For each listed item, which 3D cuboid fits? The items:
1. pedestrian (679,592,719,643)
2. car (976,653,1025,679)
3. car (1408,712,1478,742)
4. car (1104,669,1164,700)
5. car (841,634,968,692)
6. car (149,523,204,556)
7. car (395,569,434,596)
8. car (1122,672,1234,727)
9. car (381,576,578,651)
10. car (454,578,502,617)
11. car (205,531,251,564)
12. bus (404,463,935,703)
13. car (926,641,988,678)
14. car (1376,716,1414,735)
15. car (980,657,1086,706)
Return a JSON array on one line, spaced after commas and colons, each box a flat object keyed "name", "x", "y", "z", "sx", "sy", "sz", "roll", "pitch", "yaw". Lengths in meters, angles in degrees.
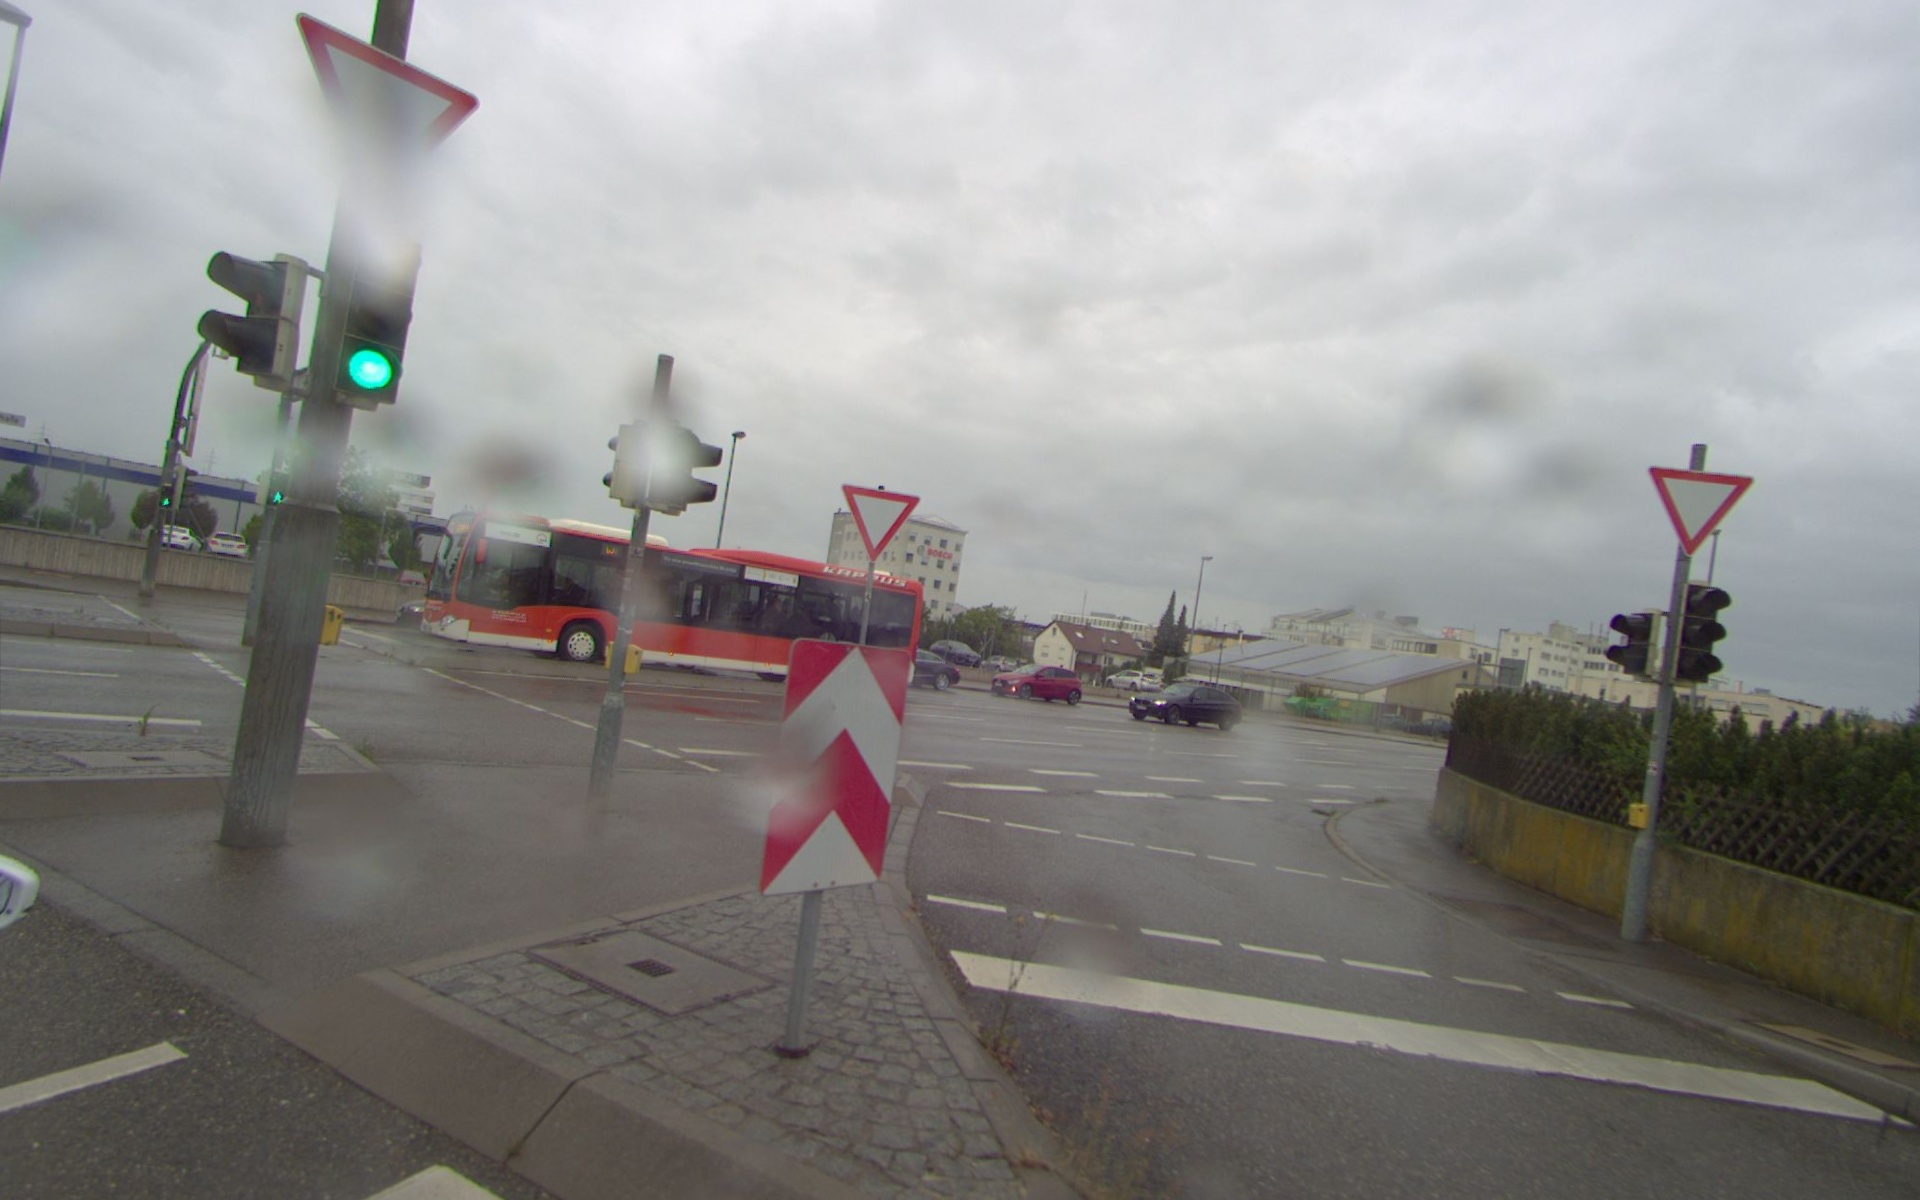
[{"name": "pedestrian", "x": -9.382, "y": 0.623, "z": 36.167, "sx": 0.868, "sy": 1.630, "sz": 0.859, "roll": 8, "pitch": 2, "yaw": -42}, {"name": "car", "x": 3.279, "y": 5.370, "z": 82.274, "sx": 1.979, "sy": 1.636, "sz": 3.971, "roll": 9, "pitch": -3, "yaw": -30}, {"name": "car", "x": 34.316, "y": 9.025, "z": 71.572, "sx": 1.980, "sy": 1.469, "sz": 3.969, "roll": 9, "pitch": -3, "yaw": -31}, {"name": "car", "x": 11.883, "y": 5.760, "z": 68.937, "sx": 1.976, "sy": 1.560, "sz": 3.978, "roll": 9, "pitch": -3, "yaw": -24}, {"name": "car", "x": -1.986, "y": 2.351, "z": 36.954, "sx": 4.367, "sy": 1.555, "sz": 1.805, "roll": 10, "pitch": -3, "yaw": -42}, {"name": "car", "x": -43.274, "y": -3.296, "z": 55.624, "sx": 1.805, "sy": 1.450, "sz": 4.072, "roll": 8, "pitch": -3, "yaw": -31}, {"name": "car", "x": -39.041, "y": -1.269, "z": 71.946, "sx": 1.912, "sy": 1.607, "sz": 3.755, "roll": 9, "pitch": -3, "yaw": -34}, {"name": "car", "x": 7.878, "y": 3.596, "z": 36.170, "sx": 3.973, "sy": 1.515, "sz": 1.832, "roll": 9, "pitch": -3, "yaw": -41}, {"name": "car", "x": -12.919, "y": 0.396, "z": 27.208, "sx": 4.367, "sy": 1.370, "sz": 1.805, "roll": 10, "pitch": -3, "yaw": -42}, {"name": "car", "x": -29.078, "y": -0.172, "z": 60.599, "sx": 1.734, "sy": 2.037, "sz": 3.787, "roll": 8, "pitch": -2, "yaw": -36}, {"name": "car", "x": -41.711, "y": -2.971, "z": 57.419, "sx": 1.847, "sy": 1.543, "sz": 4.067, "roll": 8, "pitch": -3, "yaw": -34}, {"name": "bus", "x": -6.397, "y": 0.000, "z": 24.868, "sx": 12.221, "sy": 3.614, "sz": 2.953, "roll": 12, "pitch": -5, "yaw": -41}, {"name": "car", "x": -0.227, "y": 3.567, "z": 60.655, "sx": 1.912, "sy": 1.683, "sz": 3.870, "roll": 9, "pitch": -2, "yaw": -29}, {"name": "car", "x": 43.747, "y": 12.619, "z": 101.141, "sx": 3.615, "sy": 1.436, "sz": 1.720, "roll": 10, "pitch": -3, "yaw": -36}, {"name": "car", "x": 2.992, "y": 3.319, "z": 40.885, "sx": 3.947, "sy": 1.525, "sz": 1.854, "roll": 9, "pitch": -3, "yaw": -36}]
